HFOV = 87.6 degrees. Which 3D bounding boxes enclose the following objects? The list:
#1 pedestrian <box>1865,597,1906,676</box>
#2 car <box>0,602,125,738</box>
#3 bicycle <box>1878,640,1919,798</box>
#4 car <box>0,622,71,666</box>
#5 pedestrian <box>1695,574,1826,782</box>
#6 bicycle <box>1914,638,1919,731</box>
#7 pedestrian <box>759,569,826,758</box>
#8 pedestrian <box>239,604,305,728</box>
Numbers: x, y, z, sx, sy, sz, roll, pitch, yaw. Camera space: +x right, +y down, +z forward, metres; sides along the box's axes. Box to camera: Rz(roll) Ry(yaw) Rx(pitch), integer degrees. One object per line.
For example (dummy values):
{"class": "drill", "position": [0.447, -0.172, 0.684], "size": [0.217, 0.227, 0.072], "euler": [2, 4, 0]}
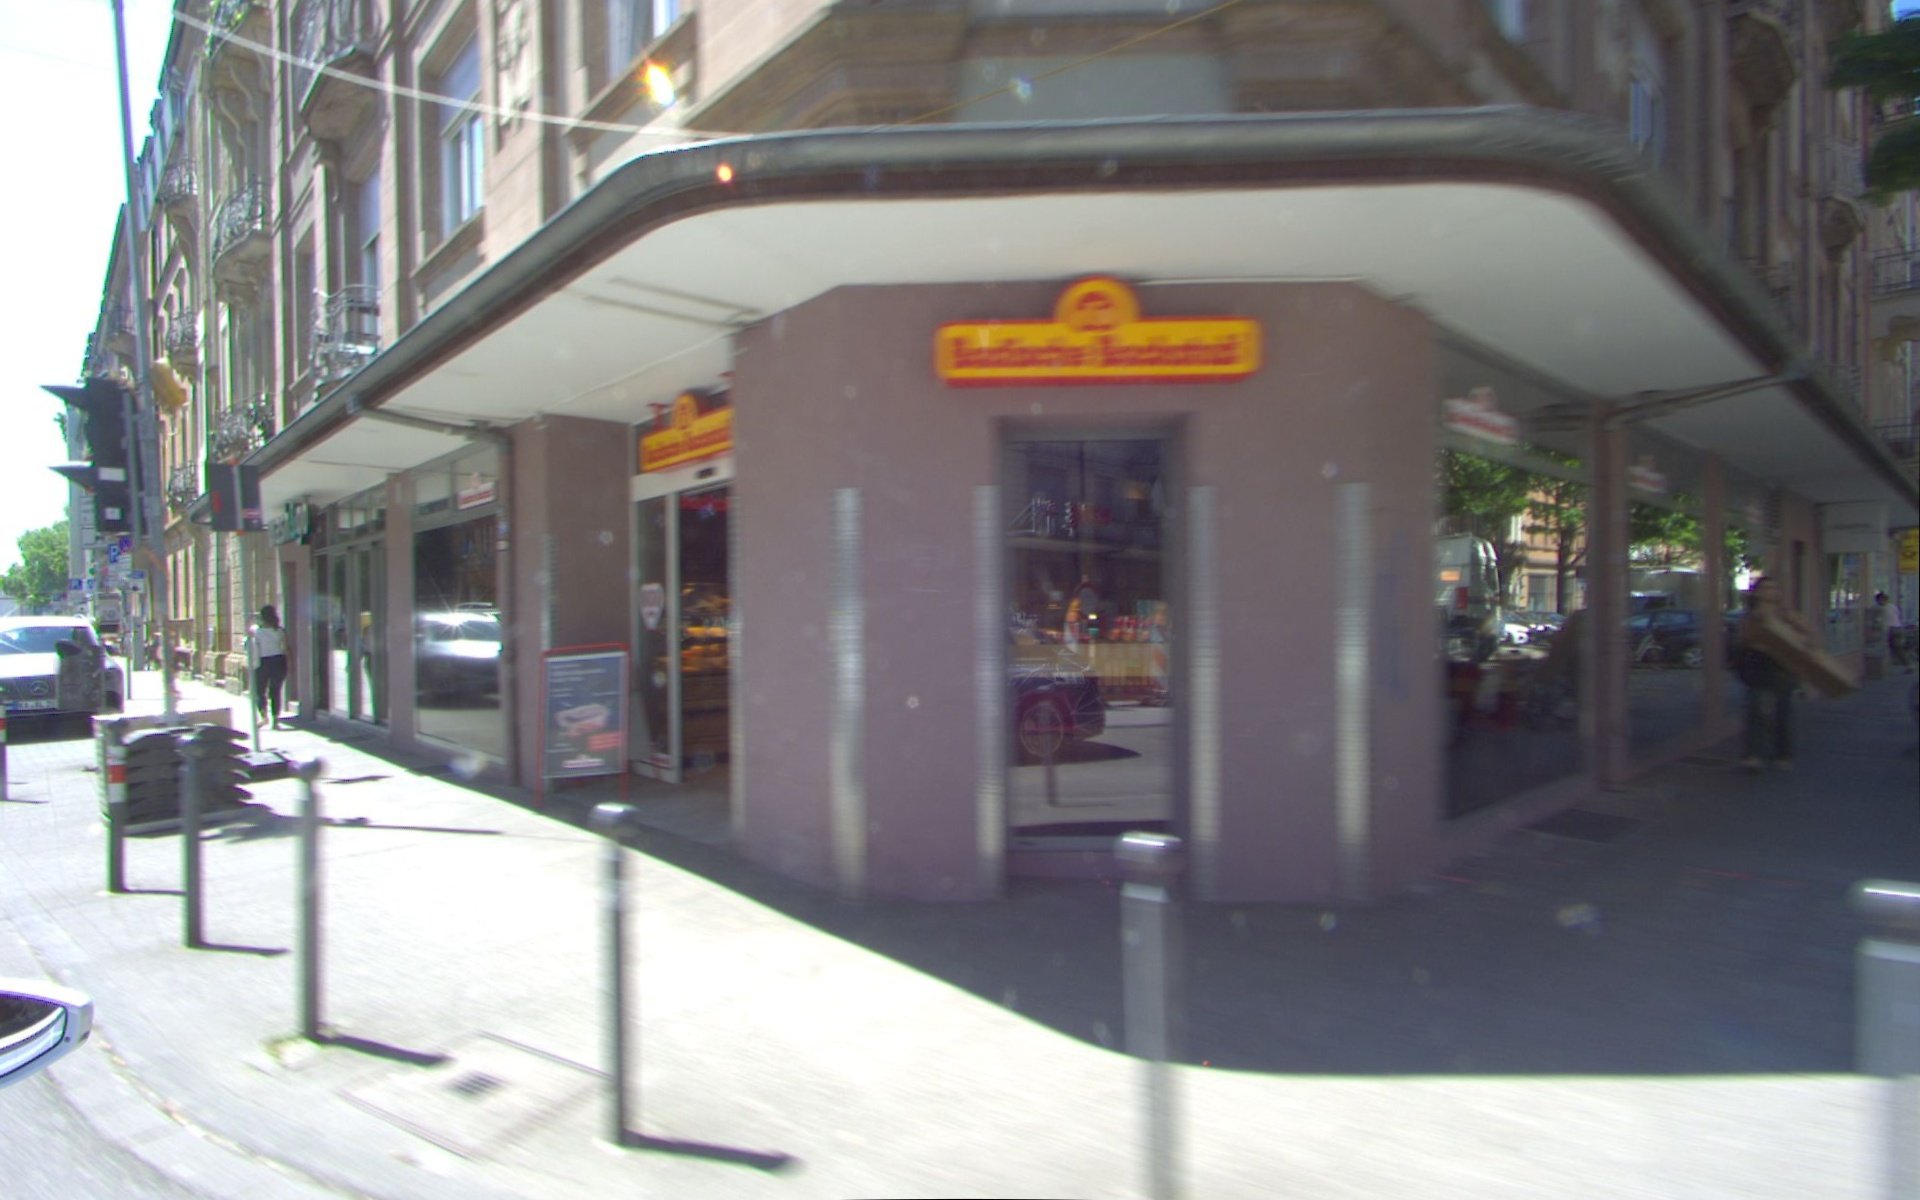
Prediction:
{"class": "pedestrian", "position": [19.457, 0.752, 21.054], "size": [0.486, 1.635, 0.555], "euler": [-1, 0, -38]}
{"class": "car", "position": [-13.746, 0.970, 14.877], "size": [1.857, 1.736, 4.463], "euler": [-2, 0, -42]}
{"class": "bicycle", "position": [7.958, 0.886, 7.785], "size": [1.956, 1.147, 0.514], "euler": [0, 0, -26]}
{"class": "car", "position": [-32.924, 1.539, 35.707], "size": [1.742, 1.448, 3.963], "euler": [-1, -1, -42]}
{"class": "pedestrian", "position": [6.861, 0.630, 8.581], "size": [0.850, 1.655, 0.780], "euler": [-1, 0, -44]}
{"class": "bicycle", "position": [11.513, 0.977, 11.687], "size": [0.499, 1.010, 1.714], "euler": [2, 1, 43]}
{"class": "pedestrian", "position": [-1.492, 0.559, 8.958], "size": [0.543, 1.649, 0.450], "euler": [0, 0, -3]}
{"class": "pedestrian", "position": [-9.450, 0.882, 13.751], "size": [0.636, 1.645, 0.796], "euler": [0, 0, -43]}
